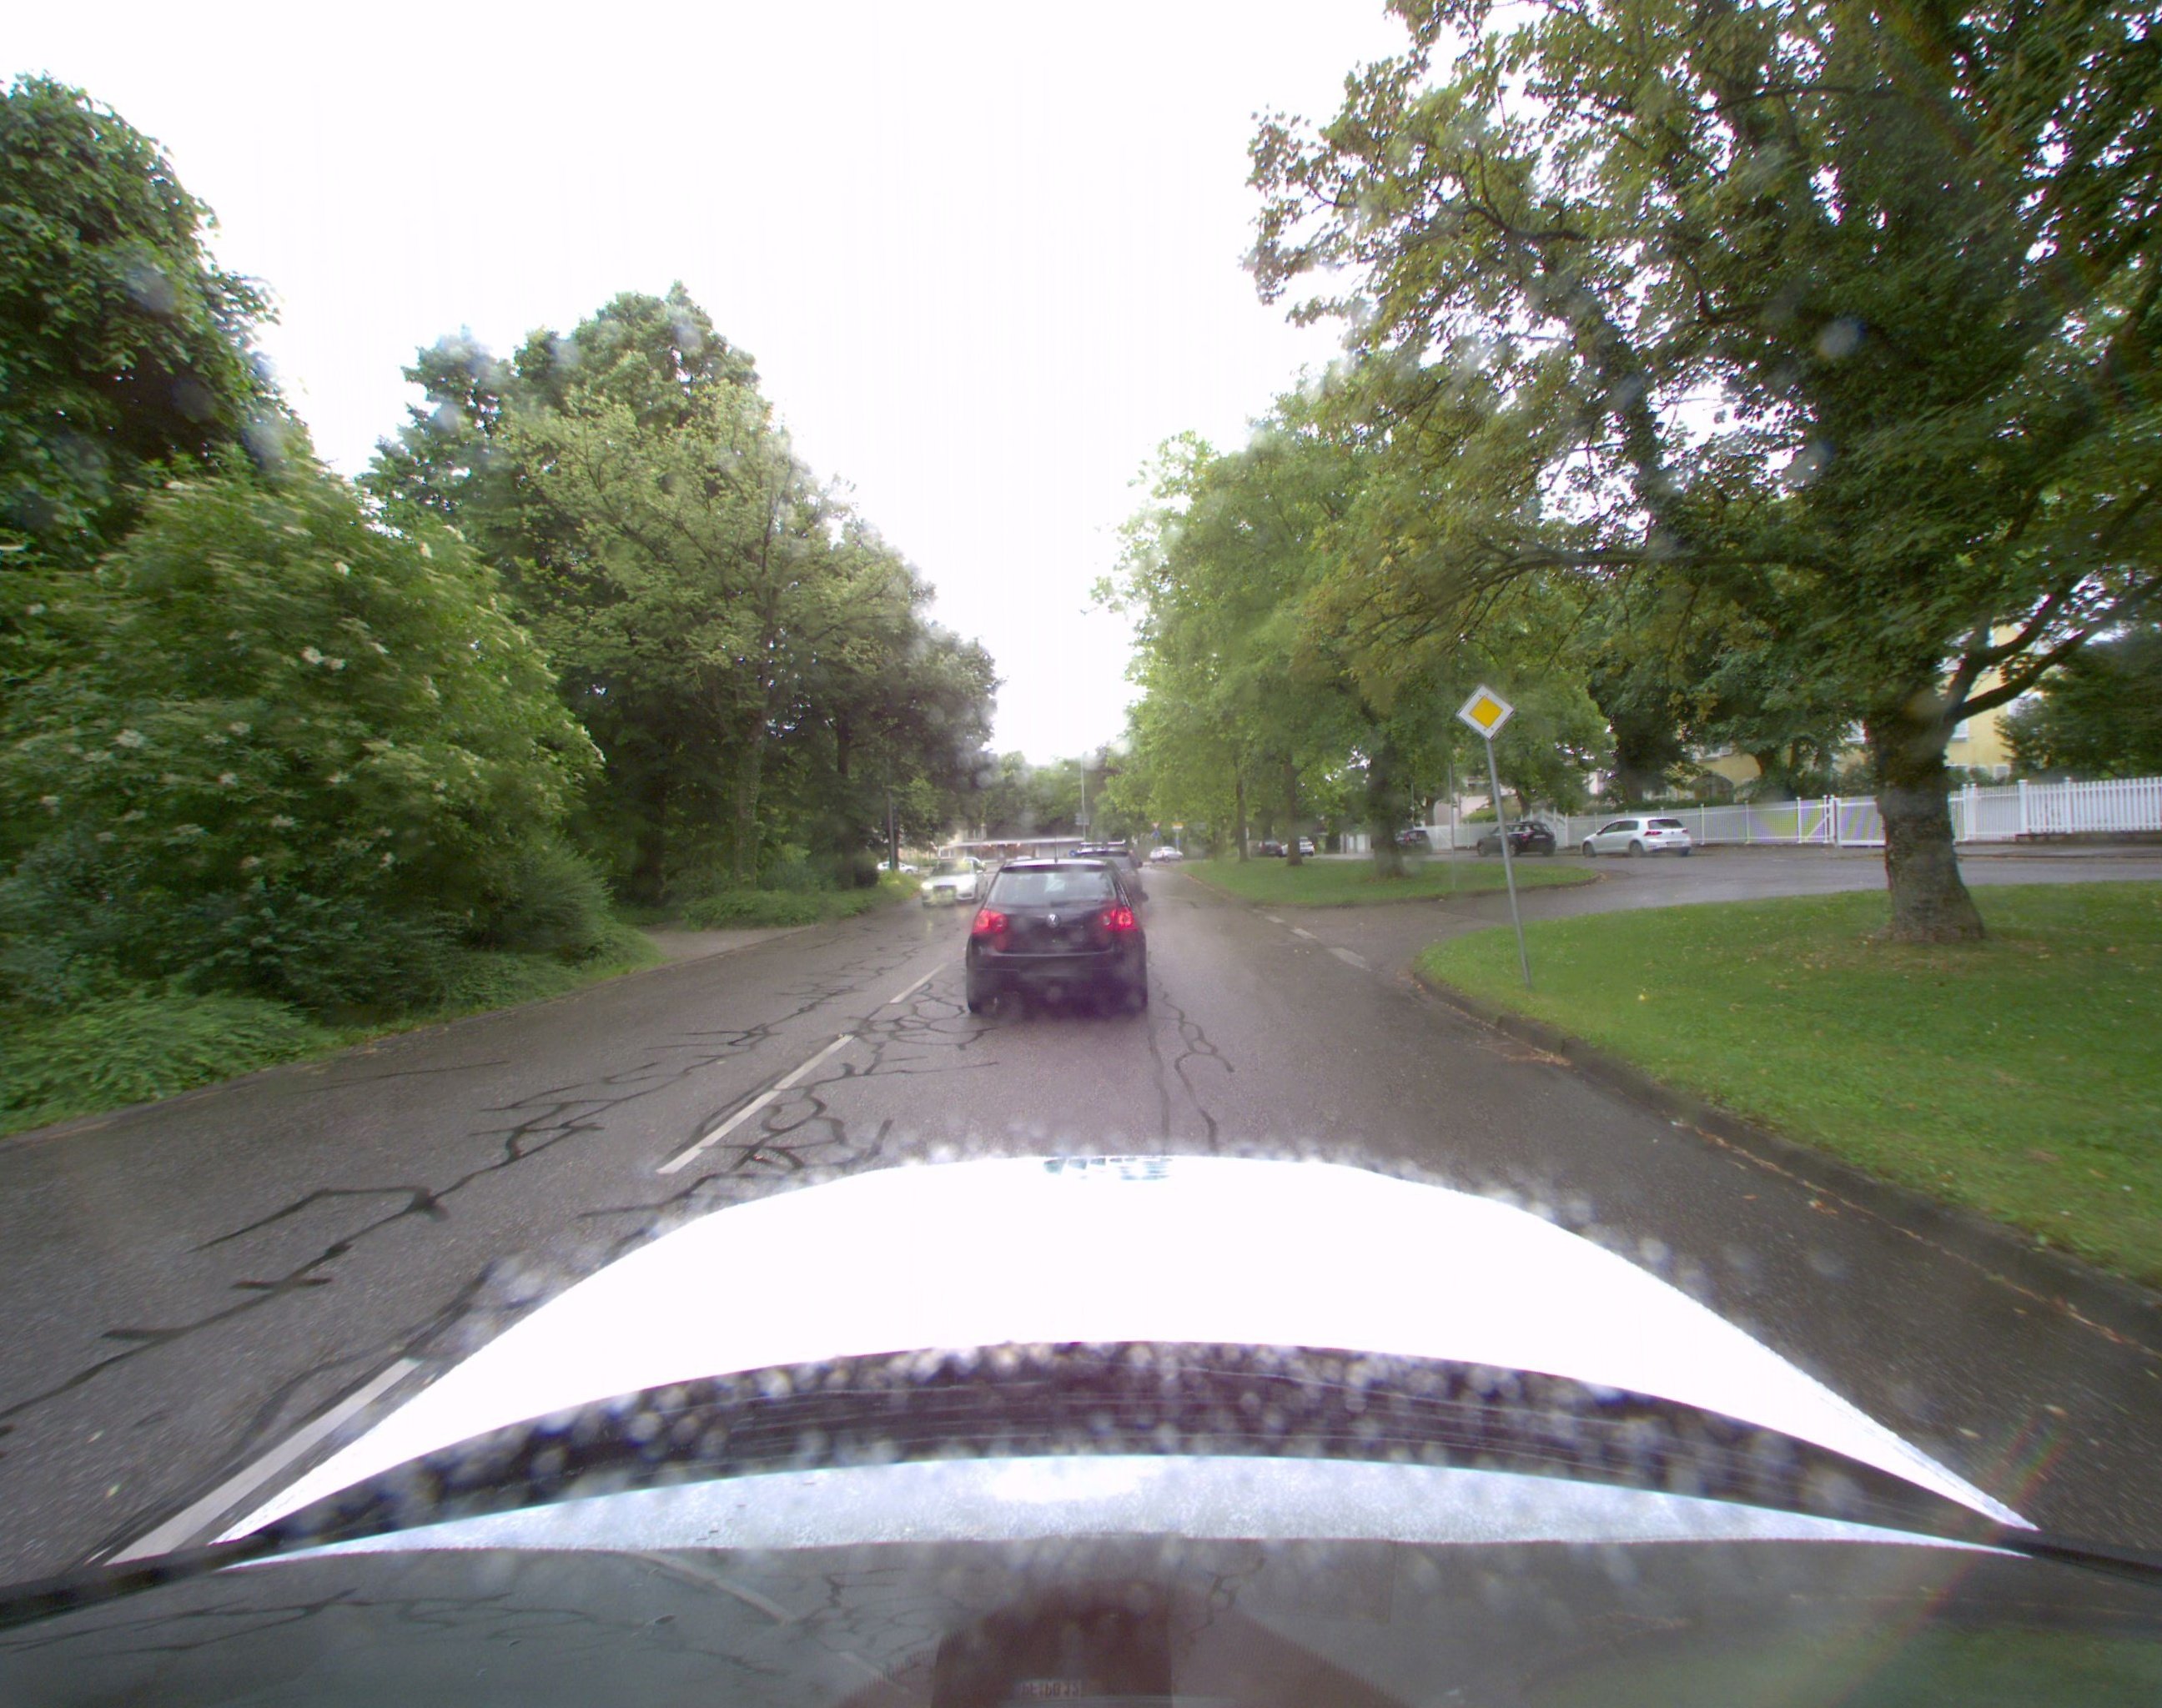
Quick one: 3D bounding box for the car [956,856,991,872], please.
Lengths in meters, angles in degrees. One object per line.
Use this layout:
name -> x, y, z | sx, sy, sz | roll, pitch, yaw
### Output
car -> -10.530, 0.977, 80.063 | 3.107, 1.310, 1.541 | -3, 0, 3

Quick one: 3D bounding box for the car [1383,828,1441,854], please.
car -> 19.942, -0.778, 49.258 | 1.796, 1.411, 4.112 | -3, 1, 0

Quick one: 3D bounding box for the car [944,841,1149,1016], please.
car -> -0.224, 0.671, 9.109 | 1.791, 1.515, 3.756 | -1, 0, 3

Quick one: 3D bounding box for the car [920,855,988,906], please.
car -> -4.155, 0.832, 27.190 | 1.603, 1.427, 4.007 | -3, 1, 0

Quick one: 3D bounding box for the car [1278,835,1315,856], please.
car -> 16.439, -0.678, 62.292 | 1.796, 1.406, 4.002 | -4, 0, 2

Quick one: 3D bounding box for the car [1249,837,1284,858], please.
car -> 14.107, -0.486, 61.998 | 1.796, 1.385, 4.002 | -4, 0, 2

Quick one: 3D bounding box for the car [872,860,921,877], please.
car -> -18.066, 1.427, 79.891 | 4.507, 1.419, 1.836 | -3, 0, -18

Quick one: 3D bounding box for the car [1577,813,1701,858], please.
car -> 20.216, -0.657, 29.717 | 1.612, 1.409, 4.006 | -4, 1, -3

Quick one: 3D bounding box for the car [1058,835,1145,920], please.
car -> 0.539, 0.514, 20.004 | 1.848, 1.784, 4.003 | -2, 0, 3

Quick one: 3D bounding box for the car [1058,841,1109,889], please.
car -> 0.162, 0.456, 33.568 | 1.848, 1.784, 4.003 | -2, -1, 3

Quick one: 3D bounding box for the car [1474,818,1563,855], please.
car -> 19.940, -0.787, 37.290 | 1.796, 1.529, 4.112 | -3, 1, 0

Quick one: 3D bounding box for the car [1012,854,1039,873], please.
car -> -4.722, 0.793, 69.199 | 1.797, 1.393, 3.965 | -4, 0, -10

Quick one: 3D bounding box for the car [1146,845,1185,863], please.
car -> 9.030, -0.030, 86.869 | 4.023, 1.706, 1.975 | -3, 0, -44
